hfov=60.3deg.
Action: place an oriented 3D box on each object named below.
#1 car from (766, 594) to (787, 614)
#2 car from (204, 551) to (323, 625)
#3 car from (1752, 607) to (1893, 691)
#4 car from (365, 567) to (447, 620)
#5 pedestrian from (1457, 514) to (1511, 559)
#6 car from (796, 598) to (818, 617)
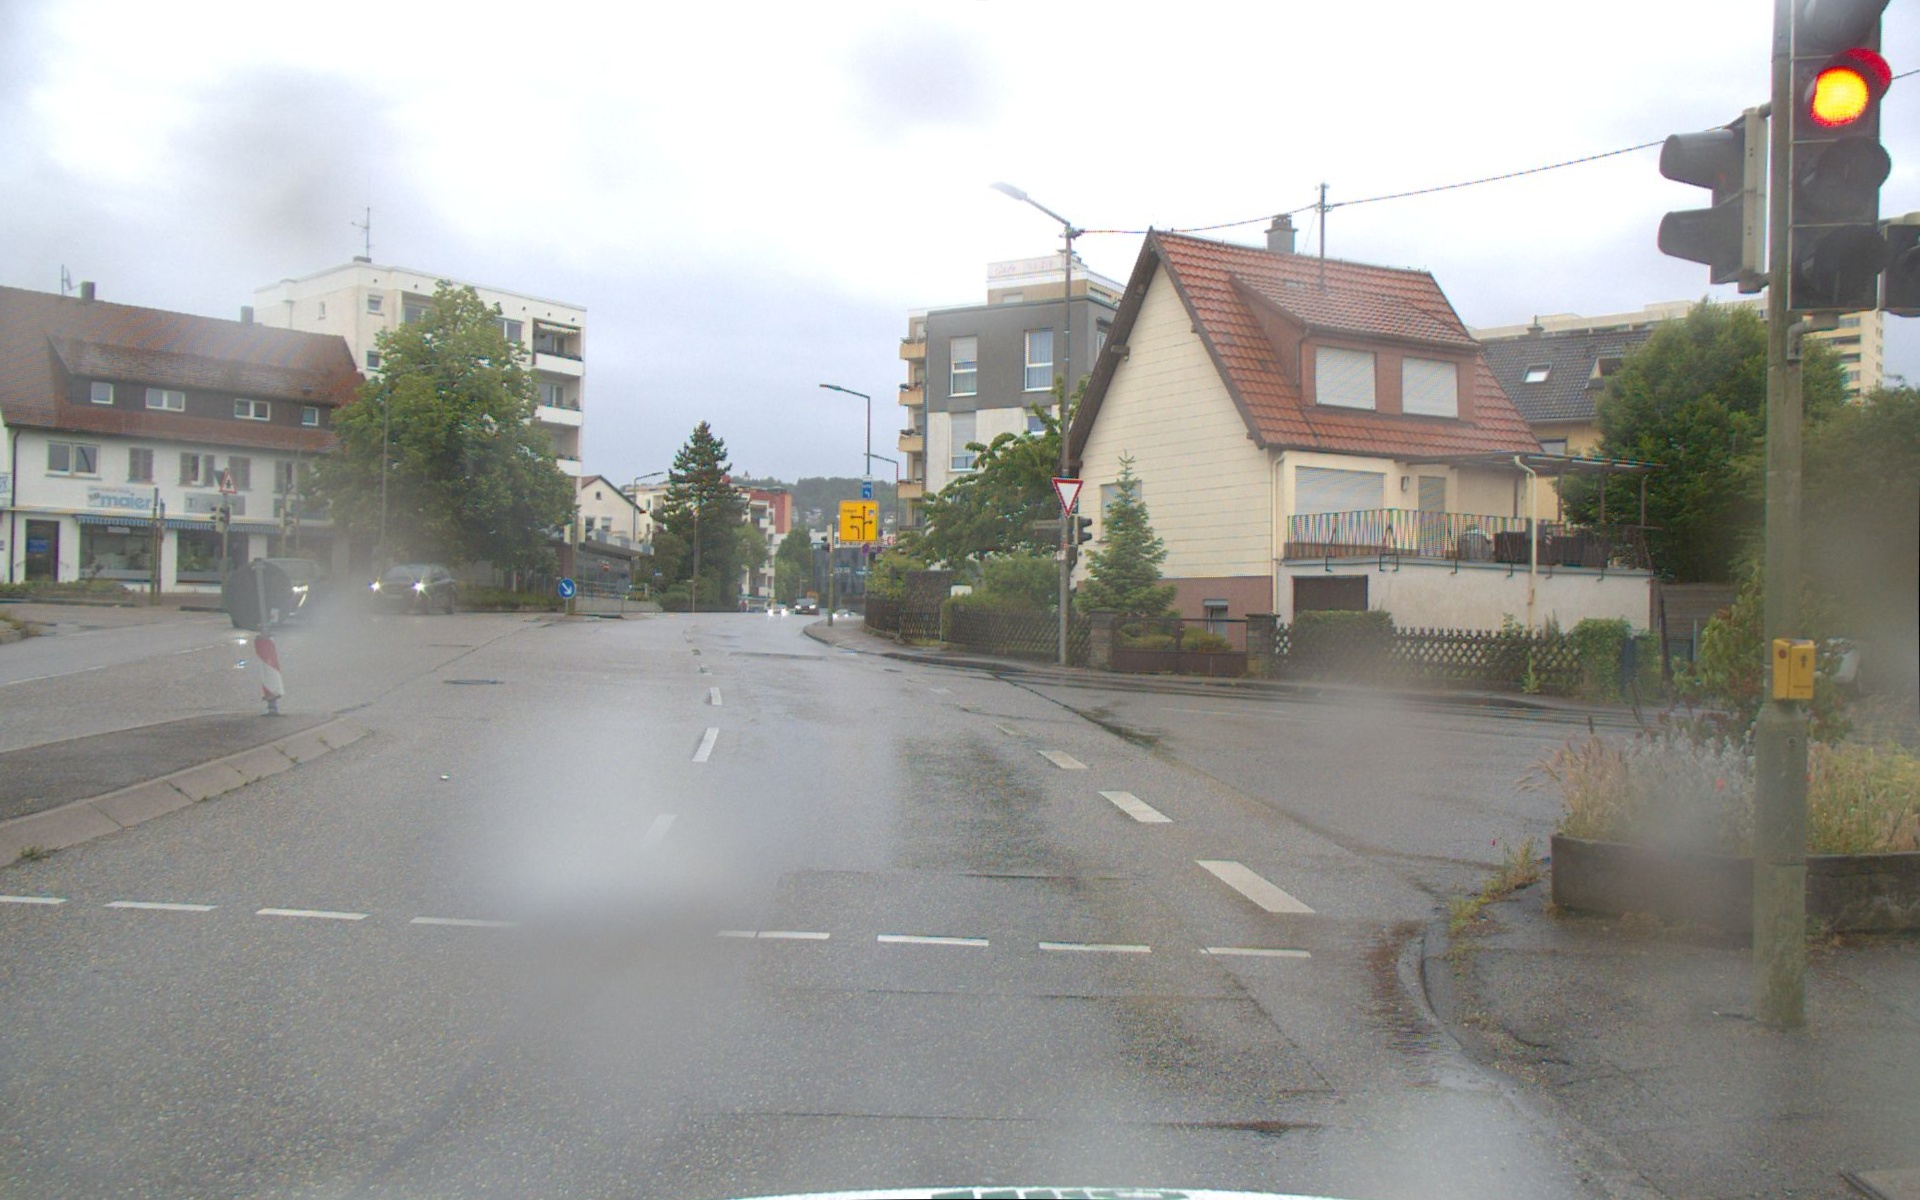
[{"bbox_3d":[-18.393,0.383,166.075,1.955,1.937,3.995,1,0,-5],"label":"car"},{"bbox_3d":[-15.640,-0.255,37.316,1.935,1.538,3.983,1,0,-16],"label":"car"},{"bbox_3d":[15.619,0.853,29.874,1.780,1.386,3.986,1,0,35],"label":"car"},{"bbox_3d":[-18.039,-0.211,54.050,1.844,1.625,4.175,1,0,-9],"label":"car"},{"bbox_3d":[11.149,-1.347,35.175,0.902,0.898,0.632,1,-2,-20],"label":"pedestrian"},{"bbox_3d":[-14.656,0.683,158.628,1.956,1.768,5.173,1,0,-7],"label":"car"}]
